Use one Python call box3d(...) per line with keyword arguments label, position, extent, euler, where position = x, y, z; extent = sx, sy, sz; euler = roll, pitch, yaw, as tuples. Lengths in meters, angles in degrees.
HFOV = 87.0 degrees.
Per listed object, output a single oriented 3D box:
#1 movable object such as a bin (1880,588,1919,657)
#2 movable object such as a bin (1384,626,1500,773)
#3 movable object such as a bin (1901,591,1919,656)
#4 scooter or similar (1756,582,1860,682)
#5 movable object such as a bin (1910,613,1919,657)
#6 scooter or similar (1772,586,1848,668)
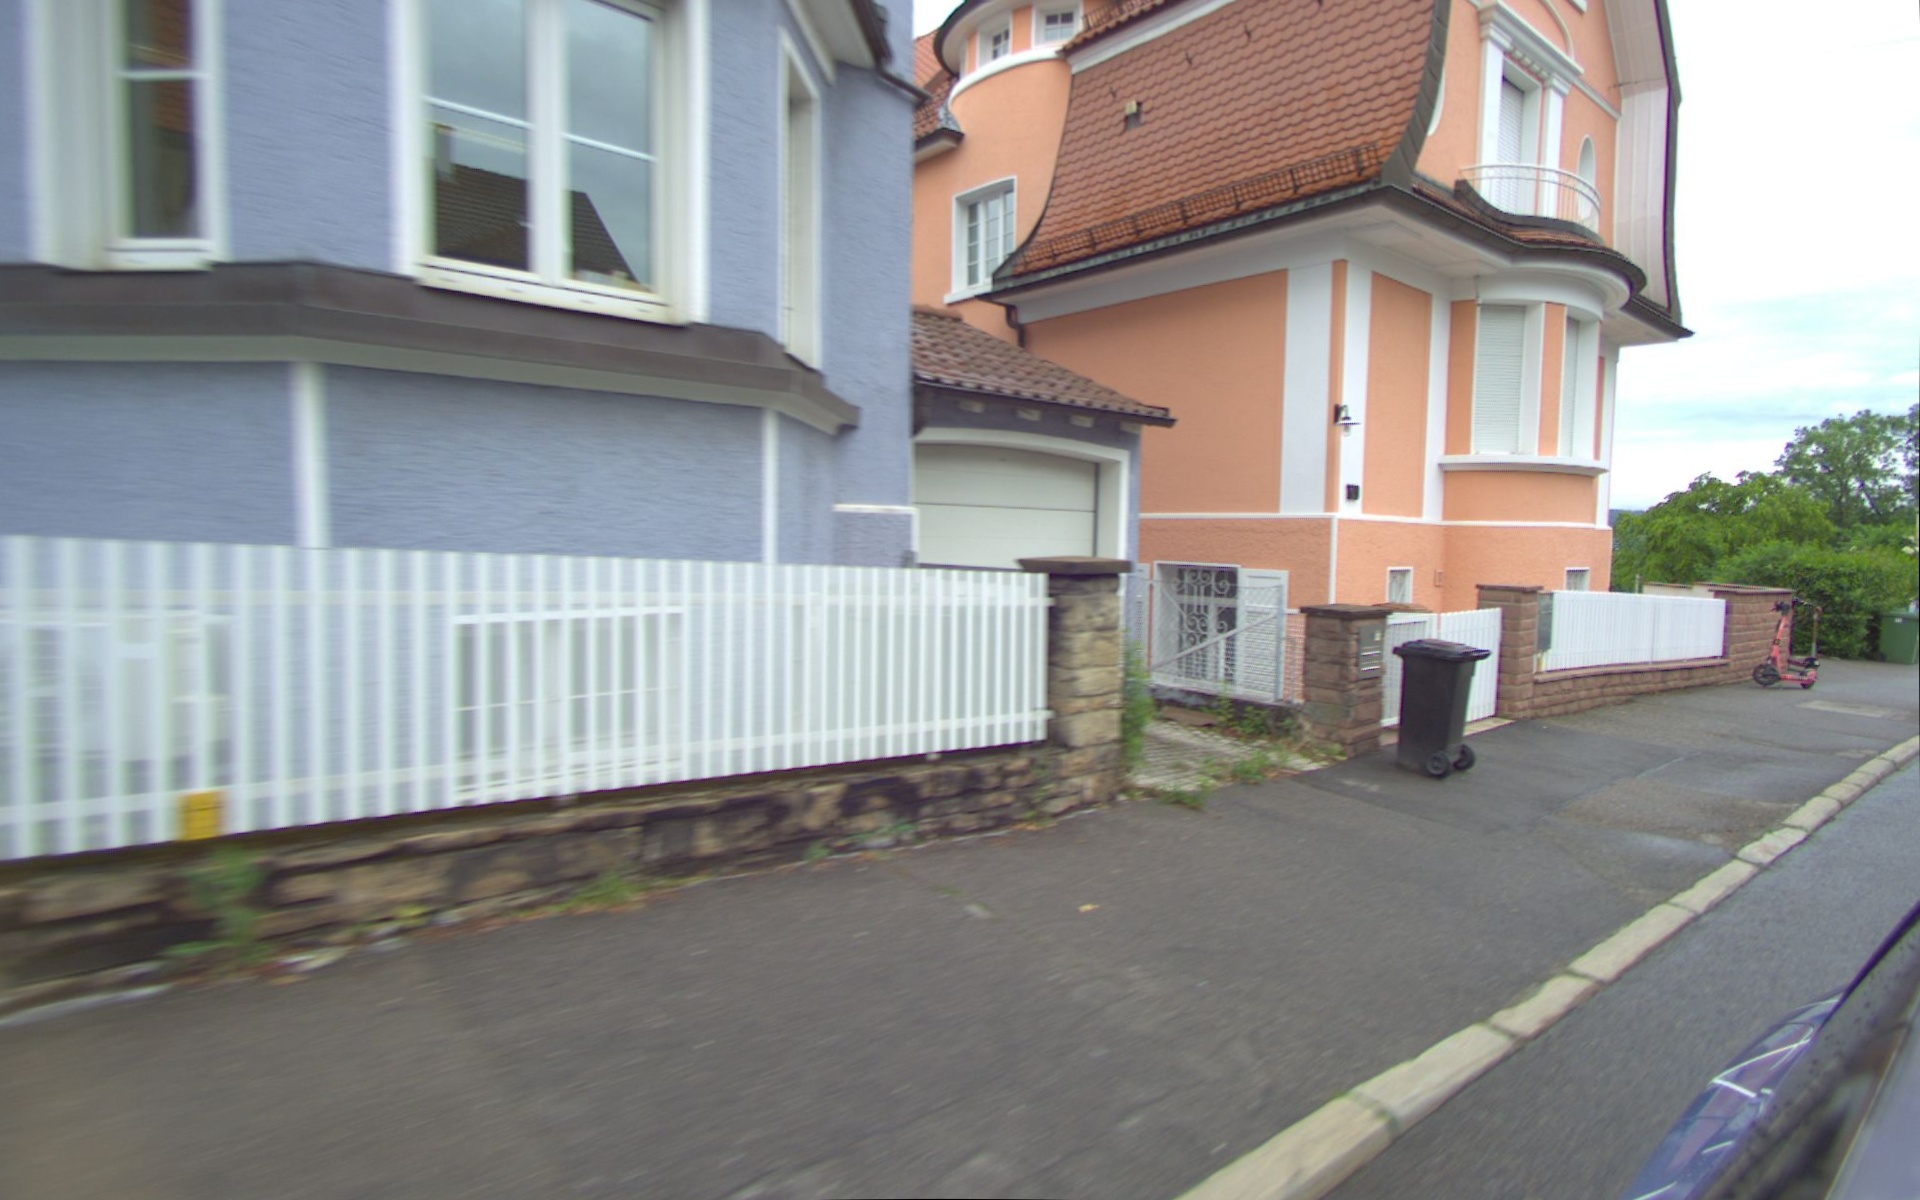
box3d(label="movable object such as a bin", position=(18.538, 0.436, 19.643), extent=(0.899, 1.260, 0.728), euler=(0, 6, -36))
box3d(label="movable object such as a bin", position=(3.429, 0.686, 7.201), extent=(0.480, 0.929, 0.533), euler=(0, 5, -42))
box3d(label="movable object such as a bin", position=(19.206, 0.468, 20.087), extent=(0.671, 1.261, 0.614), euler=(0, 2, -36))
box3d(label="scooter or similar", position=(12.372, 0.464, 14.760), extent=(1.447, 1.420, 0.357), euler=(1, 2, -16))
box3d(label="movable object such as a bin", position=(19.715, 0.710, 20.474), extent=(0.578, 0.874, 0.614), euler=(0, 2, -36))
box3d(label="scooter or similar", position=(14.578, 0.442, 17.390), extent=(0.351, 1.287, 1.290), euler=(2, 4, 11))
